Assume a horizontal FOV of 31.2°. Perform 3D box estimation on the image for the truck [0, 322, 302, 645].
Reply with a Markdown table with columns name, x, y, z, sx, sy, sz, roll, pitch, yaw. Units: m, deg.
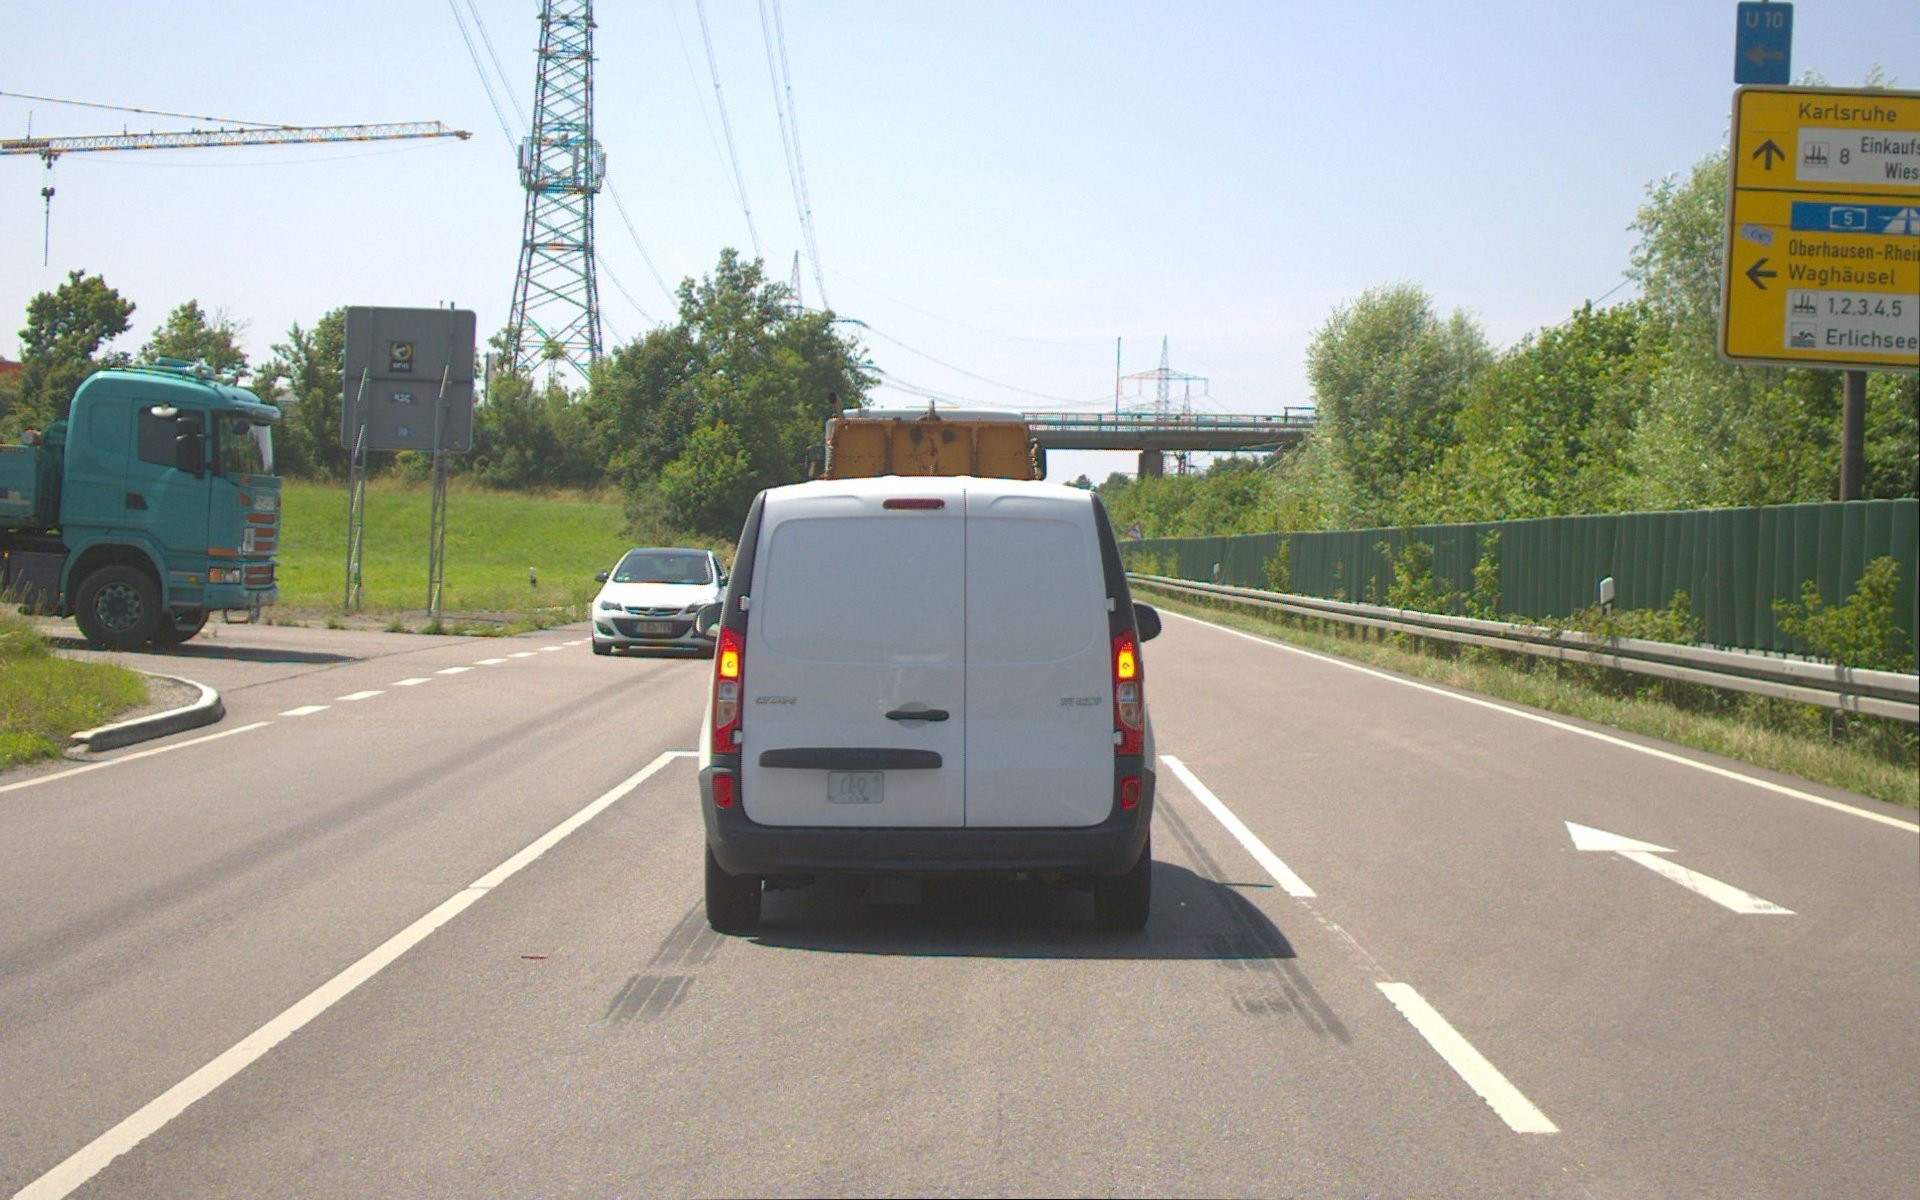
| name | x | y | z | sx | sy | sz | roll | pitch | yaw |
| --- | --- | --- | --- | --- | --- | --- | --- | --- | --- |
| truck | -12.502 | -1.569 | 42.842 | 7.905 | 3.721 | 2.498 | 3 | 1 | 3 |

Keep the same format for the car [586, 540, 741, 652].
| name | x | y | z | sx | sy | sz | roll | pitch | yaw |
| --- | --- | --- | --- | --- | --- | --- | --- | --- | --- |
| car | -4.080 | -0.090 | 47.901 | 1.725 | 1.436 | 4.249 | 1 | 1 | 1 |

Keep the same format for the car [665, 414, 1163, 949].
| name | x | y | z | sx | sy | sz | roll | pitch | yaw |
| --- | --- | --- | --- | --- | --- | --- | --- | --- | --- |
| car | -0.169 | 0.270 | 14.752 | 1.827 | 1.964 | 4.000 | 1 | 1 | 0 |

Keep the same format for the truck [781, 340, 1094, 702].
| name | x | y | z | sx | sy | sz | roll | pitch | yaw |
| --- | --- | --- | --- | --- | --- | --- | --- | --- | --- |
| truck | -0.323 | -0.865 | 36.567 | 2.820 | 3.277 | 9.702 | 1 | 2 | -1 |

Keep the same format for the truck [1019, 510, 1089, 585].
| name | x | y | z | sx | sy | sz | roll | pitch | yaw |
| --- | --- | --- | --- | --- | --- | --- | --- | --- | --- |
| truck | 3.515 | -1.986 | 130.078 | 2.374 | 2.680 | 8.010 | 2 | 1 | 0 |

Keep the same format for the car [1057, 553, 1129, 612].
| name | x | y | z | sx | sy | sz | roll | pitch | yaw |
| --- | --- | --- | --- | --- | --- | --- | --- | --- | --- |
| car | 3.636 | -0.493 | 94.592 | 1.848 | 1.568 | 4.000 | 1 | 1 | 1 |
